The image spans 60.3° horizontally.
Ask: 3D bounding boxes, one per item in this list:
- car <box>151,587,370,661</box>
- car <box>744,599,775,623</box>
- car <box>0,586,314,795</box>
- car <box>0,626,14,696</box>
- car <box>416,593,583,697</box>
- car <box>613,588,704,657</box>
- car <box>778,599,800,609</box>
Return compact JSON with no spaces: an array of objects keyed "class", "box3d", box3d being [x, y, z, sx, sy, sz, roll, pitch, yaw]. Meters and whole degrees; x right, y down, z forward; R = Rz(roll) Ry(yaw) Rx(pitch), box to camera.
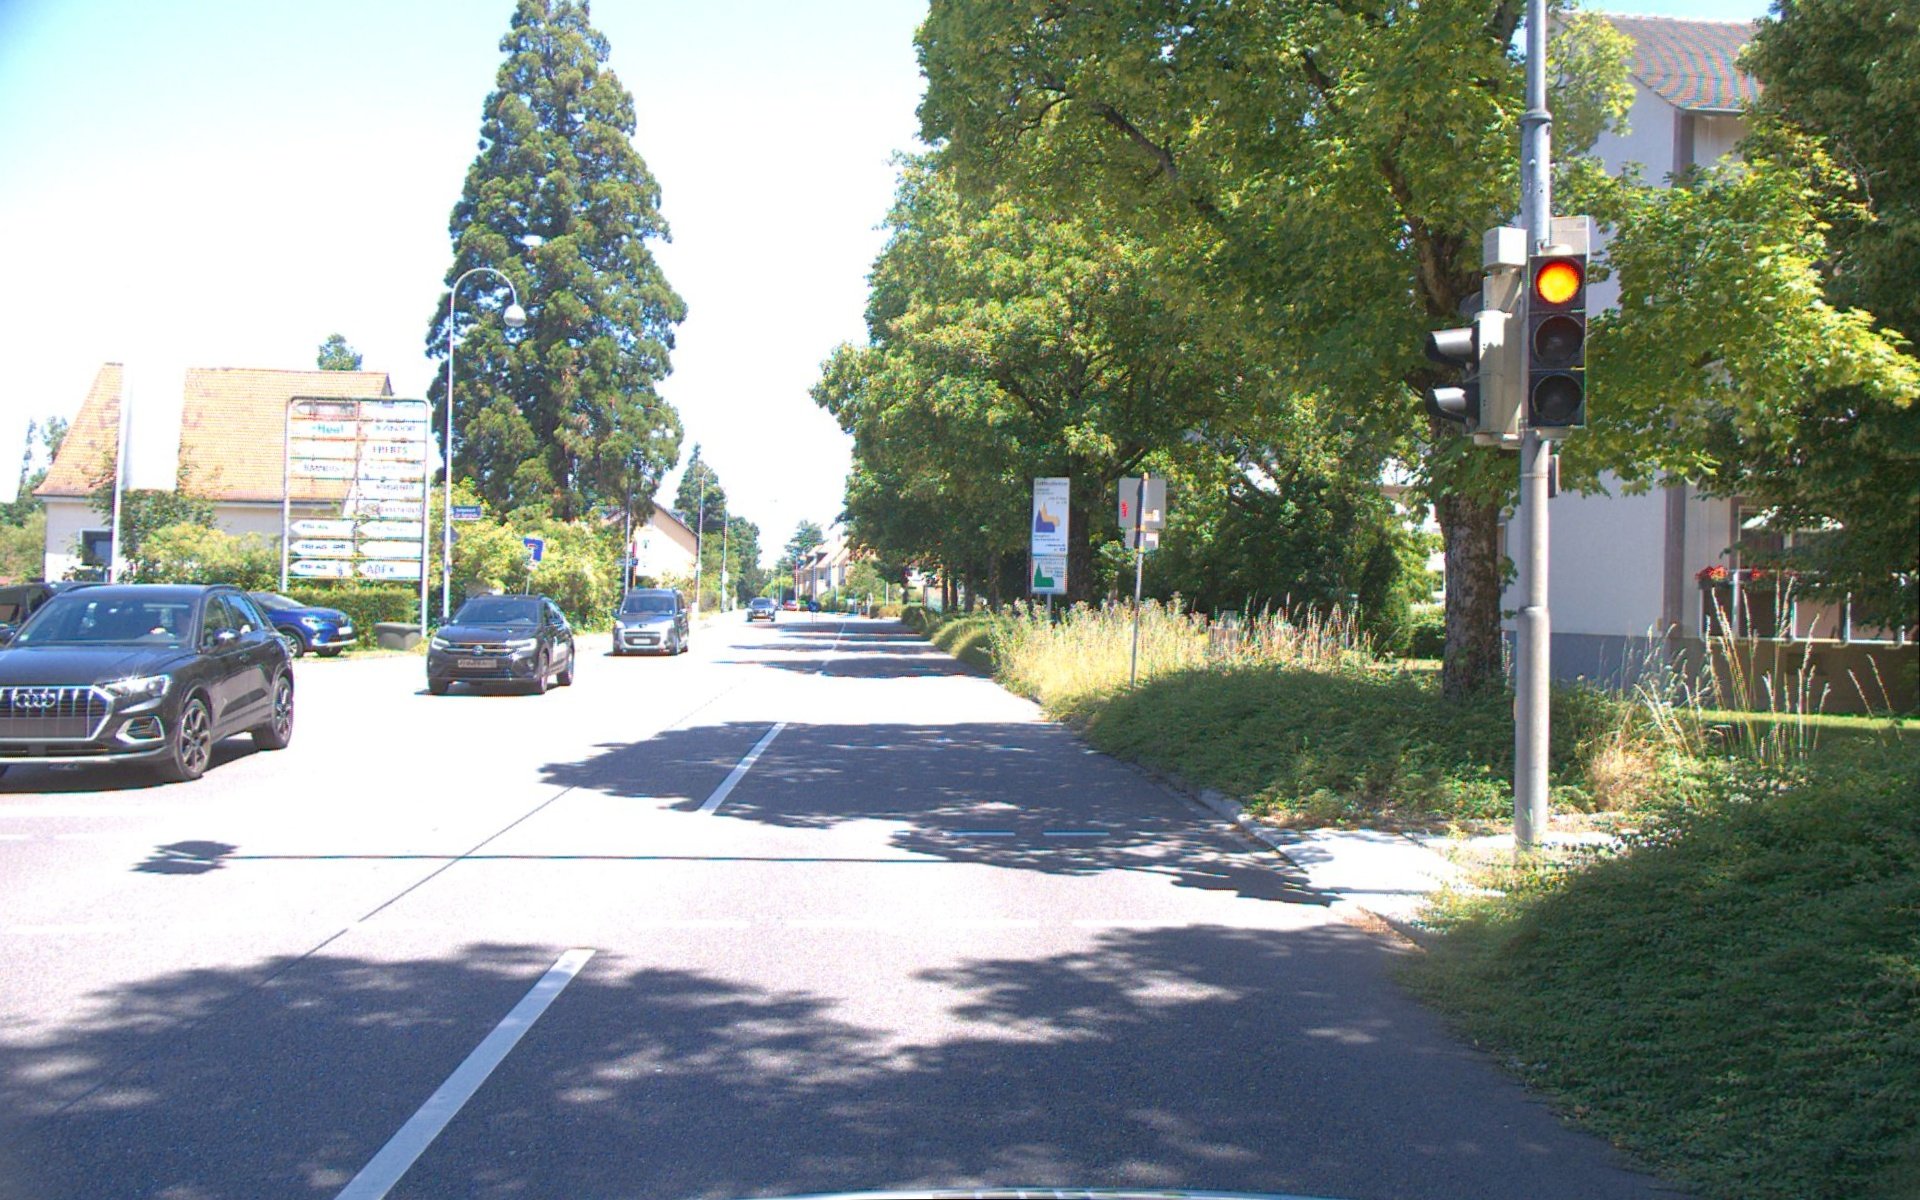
[{"class":"car","box3d":[-15.189,0.506,36.014,4.047,1.531,1.779,0,0,8]},{"class":"car","box3d":[-13.471,0.700,111.416,1.758,1.563,4.312,1,0,-3]},{"class":"car","box3d":[-7.272,0.683,14.655,1.890,1.582,4.295,0,0,-8]},{"class":"car","box3d":[-24.743,1.526,40.065,1.775,1.752,4.081,1,0,-8]},{"class":"car","box3d":[-7.251,0.670,26.424,1.832,1.533,4.049,0,0,-5]},{"class":"car","box3d":[-8.276,0.598,45.775,1.774,1.793,4.569,1,0,-1]},{"class":"car","box3d":[-22.885,0.501,221.253,1.914,1.383,4.439,0,0,-19]}]
